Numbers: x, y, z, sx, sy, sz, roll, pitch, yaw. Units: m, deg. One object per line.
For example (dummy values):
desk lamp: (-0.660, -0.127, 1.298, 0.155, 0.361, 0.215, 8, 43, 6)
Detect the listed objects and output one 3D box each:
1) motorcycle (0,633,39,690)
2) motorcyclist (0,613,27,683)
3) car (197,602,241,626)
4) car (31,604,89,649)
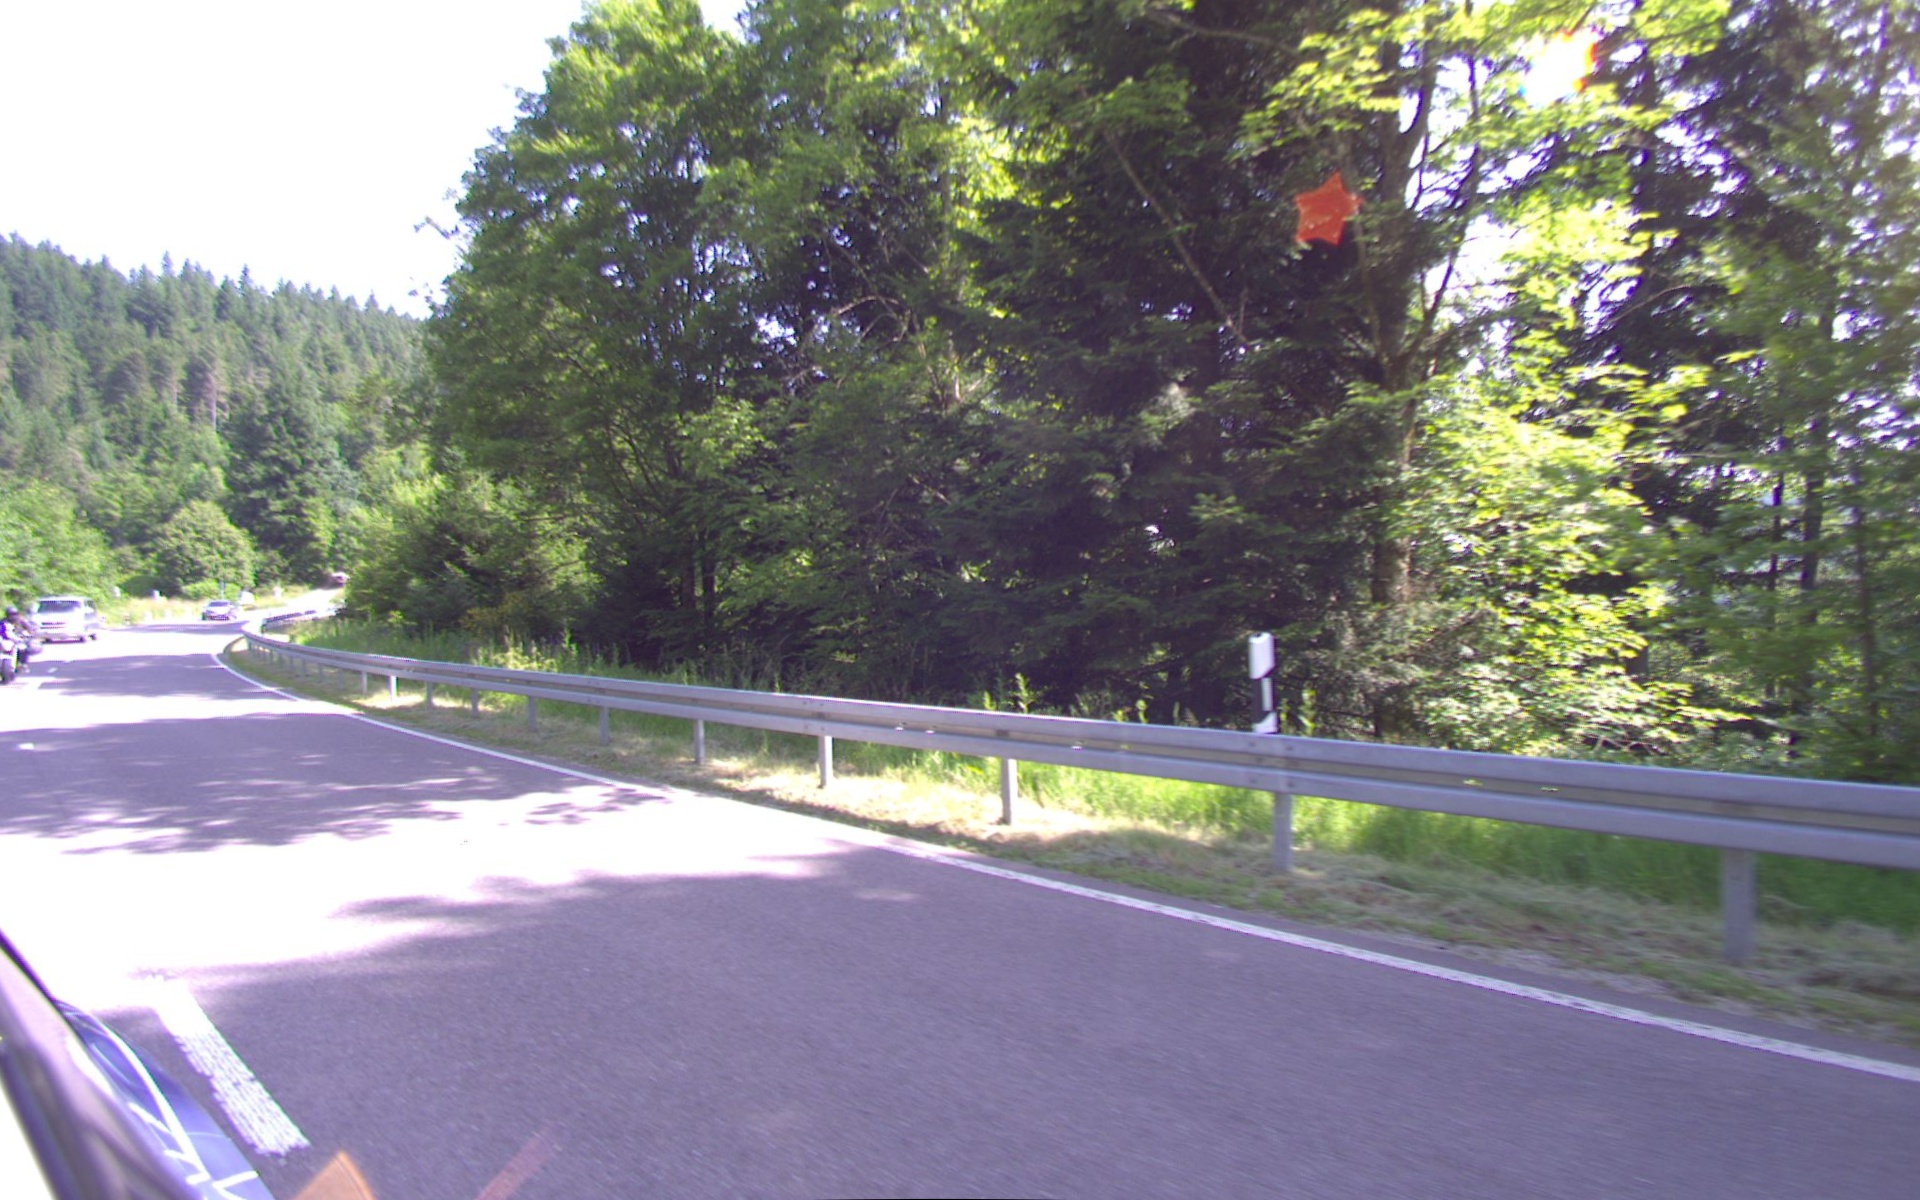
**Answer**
motorcycle: (-20.138, 1.279, 21.281, 1.093, 1.132, 1.963, 0, -1, -42)
motorcyclist: (-20.253, 1.008, 21.398, 0.706, 1.441, 1.000, -2, 1, -41)
car: (-55.232, 1.037, 75.489, 1.965, 1.655, 4.013, -1, 1, -27)
car: (-37.743, 1.078, 42.510, 1.628, 1.773, 3.801, 1, 0, -39)
